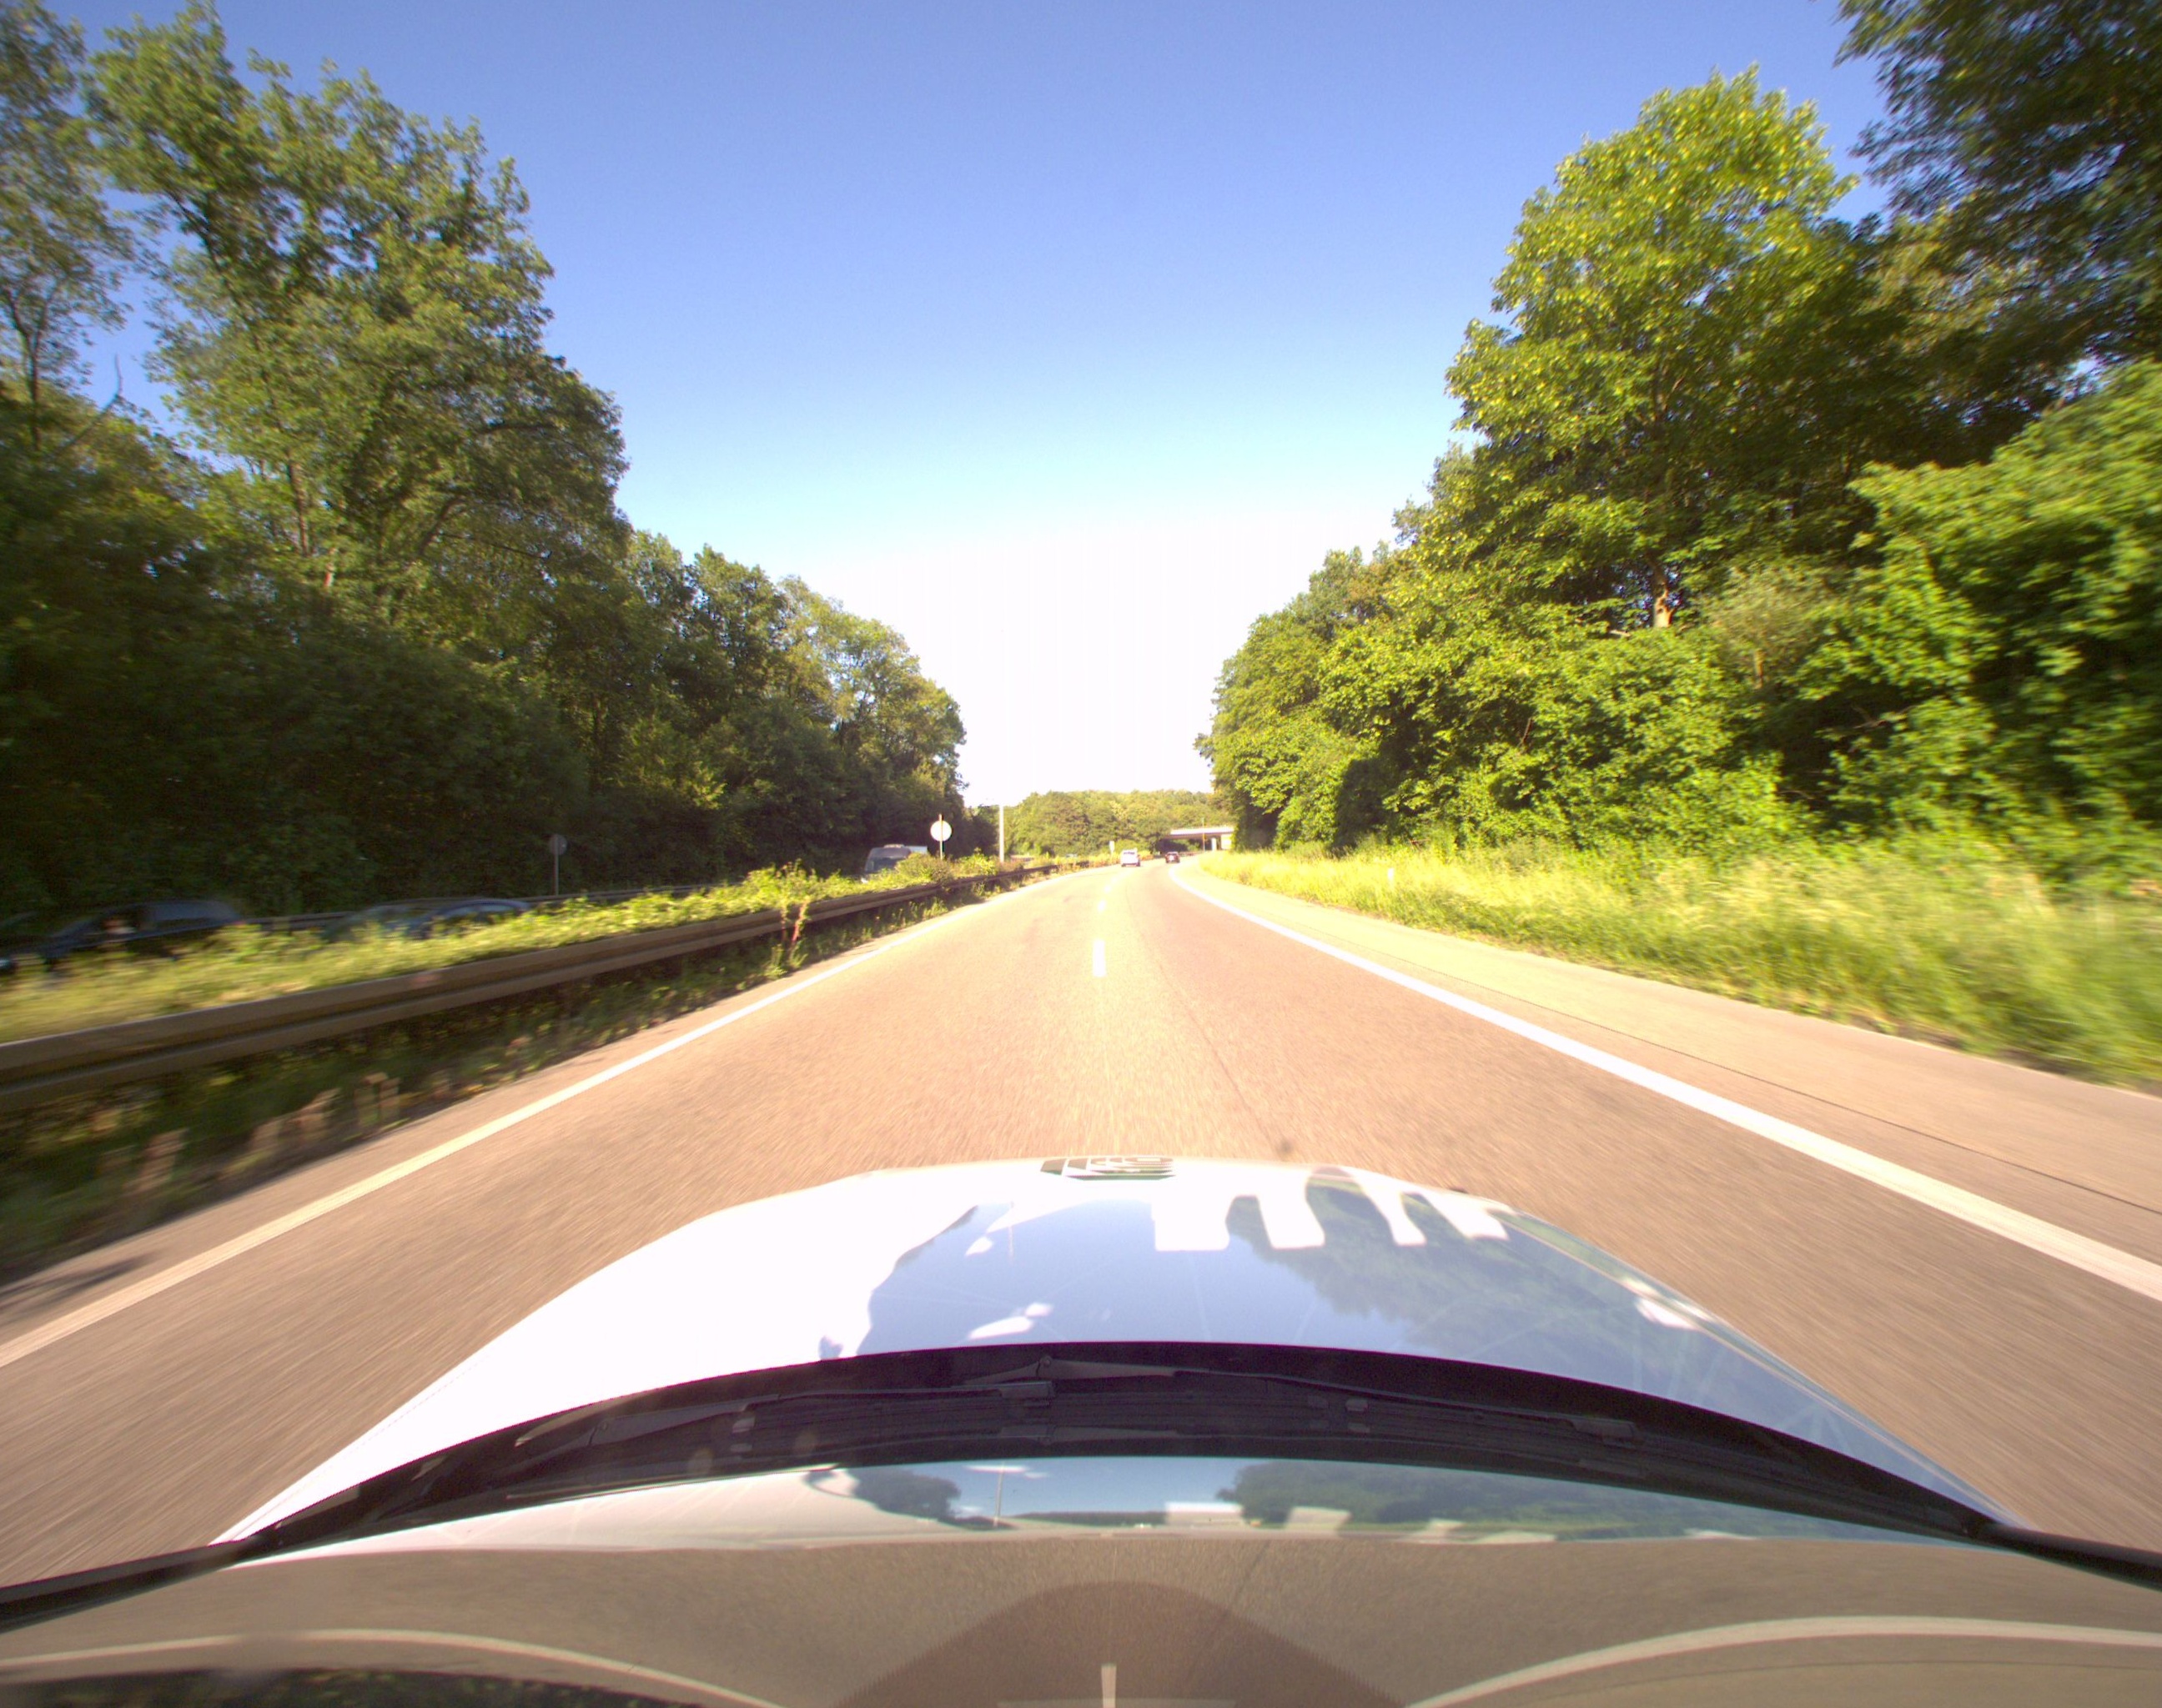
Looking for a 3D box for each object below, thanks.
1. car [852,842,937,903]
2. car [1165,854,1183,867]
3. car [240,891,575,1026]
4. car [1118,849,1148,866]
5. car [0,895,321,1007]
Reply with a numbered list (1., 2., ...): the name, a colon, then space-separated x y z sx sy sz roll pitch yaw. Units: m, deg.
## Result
1. car: -8.558 0.783 37.957 2.065 2.574 5.794 -1 0 6
2. car: 12.985 0.904 113.235 1.937 1.782 4.604 -1 -1 14
3. car: -9.272 1.339 11.686 1.643 1.413 3.777 -1 0 0
4. car: 5.642 0.407 88.387 1.934 1.782 4.611 -1 -1 21
5. car: -15.551 1.512 13.753 1.643 1.383 4.000 -1 0 0
